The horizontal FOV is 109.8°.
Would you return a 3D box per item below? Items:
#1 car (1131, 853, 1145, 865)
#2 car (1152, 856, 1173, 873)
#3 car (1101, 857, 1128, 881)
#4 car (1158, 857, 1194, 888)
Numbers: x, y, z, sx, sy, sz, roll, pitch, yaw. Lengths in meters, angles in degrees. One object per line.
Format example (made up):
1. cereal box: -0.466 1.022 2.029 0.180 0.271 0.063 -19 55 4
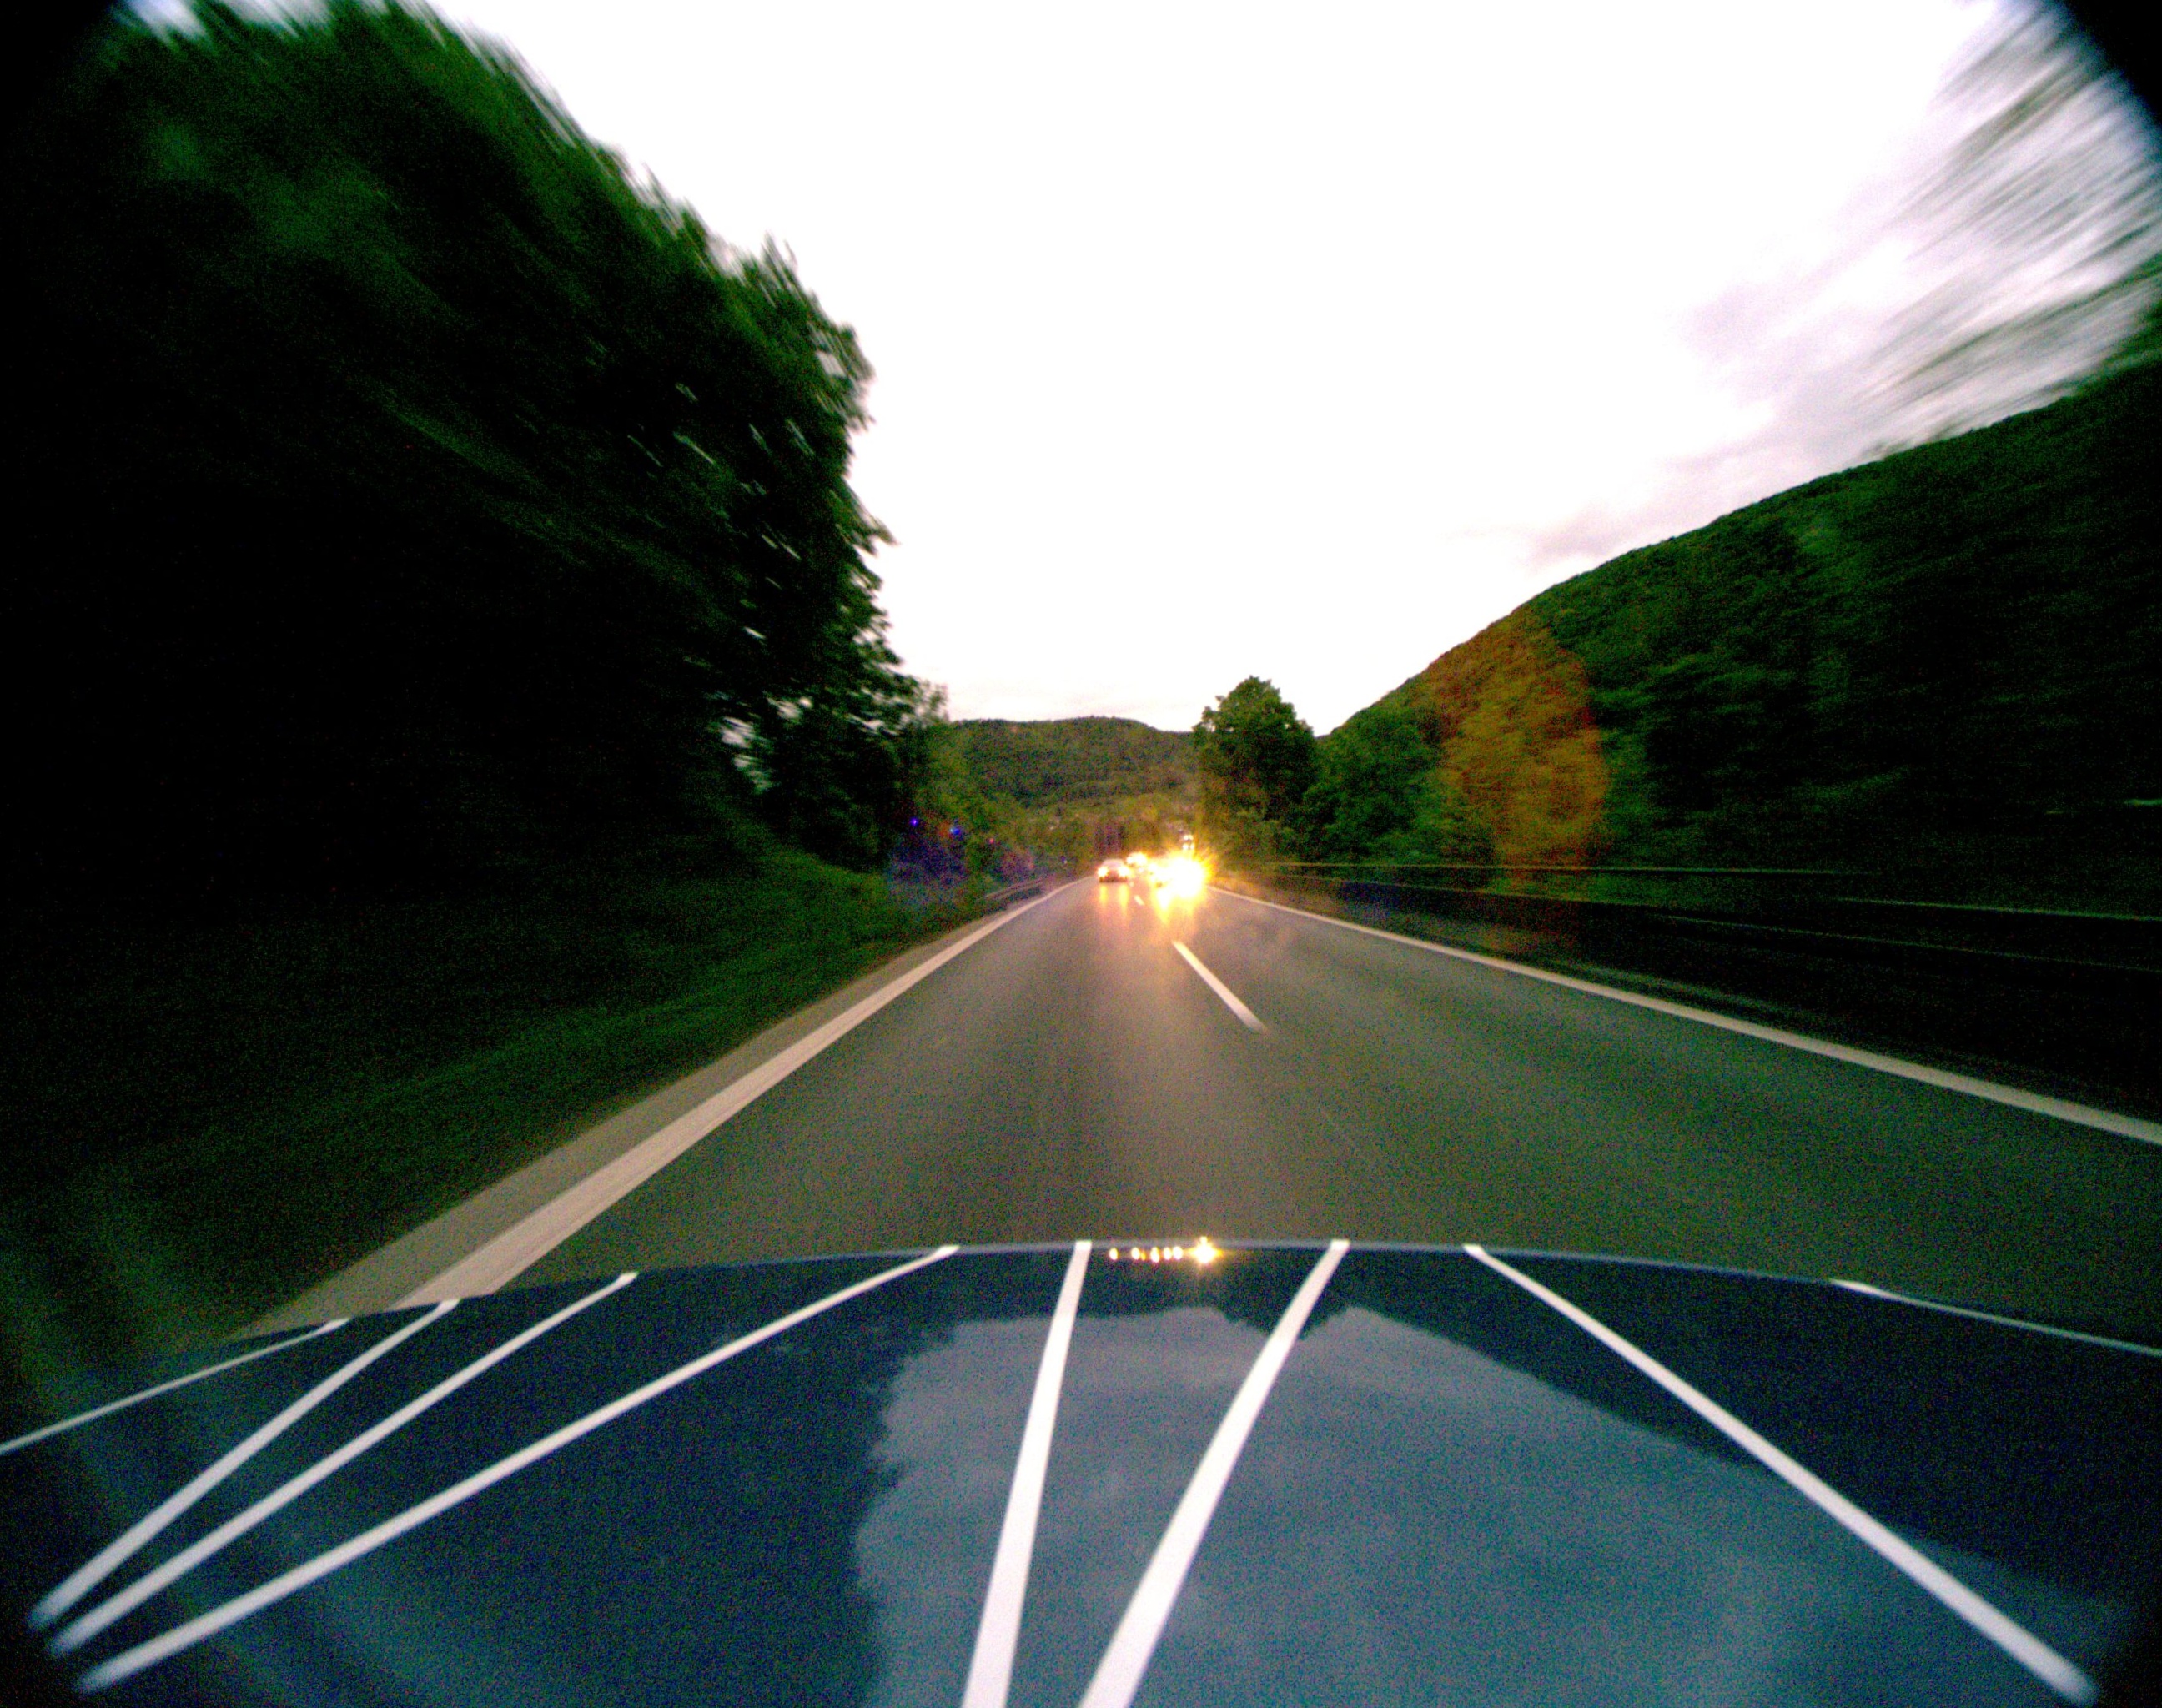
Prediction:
1. car: 8.031 0.726 107.146 1.737 1.641 3.669 -2 0 3
2. car: 7.452 0.939 69.715 1.690 1.425 3.669 -2 0 4
3. car: 2.239 0.950 50.789 1.690 1.443 3.669 -2 0 3
4. car: 4.959 0.933 40.164 1.689 1.460 3.768 -2 0 5
